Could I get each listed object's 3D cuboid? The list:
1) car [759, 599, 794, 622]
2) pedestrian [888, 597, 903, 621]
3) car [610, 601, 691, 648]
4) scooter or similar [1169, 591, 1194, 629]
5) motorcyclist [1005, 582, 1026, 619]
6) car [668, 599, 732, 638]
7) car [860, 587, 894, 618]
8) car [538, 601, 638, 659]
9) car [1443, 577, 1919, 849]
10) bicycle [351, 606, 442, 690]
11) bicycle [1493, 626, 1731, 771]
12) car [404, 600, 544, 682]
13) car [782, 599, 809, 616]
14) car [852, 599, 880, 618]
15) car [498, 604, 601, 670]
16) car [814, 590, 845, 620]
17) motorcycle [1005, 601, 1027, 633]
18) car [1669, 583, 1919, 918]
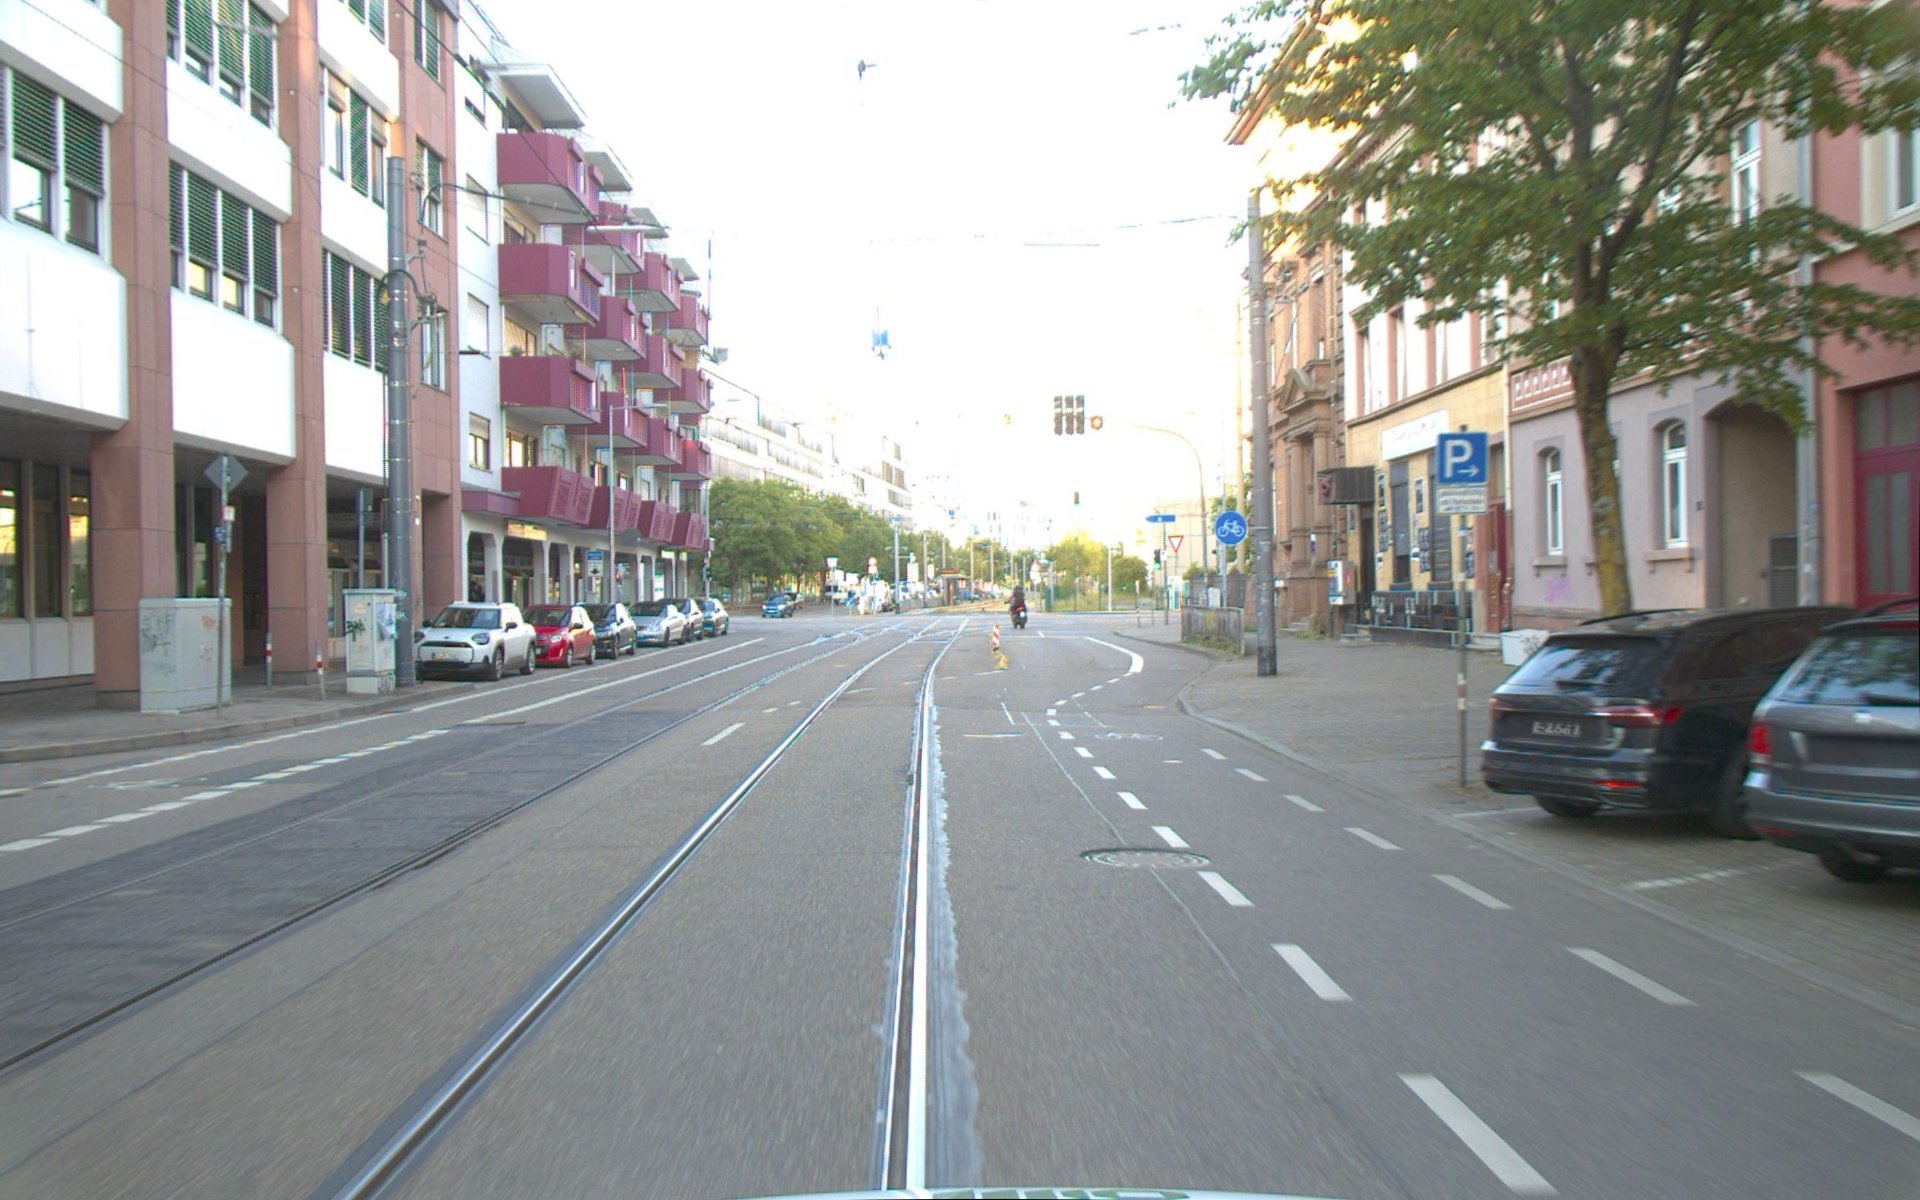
[{"bbox_3d":[-14.077,0.780,127.067,1.647,1.729,4.242,-1,0,8],"label":"car"},{"bbox_3d":[-5.565,0.783,143.579,1.025,2.066,0.978,-1,0,-22],"label":"pedestrian"},{"bbox_3d":[-10.113,0.780,54.372,1.656,1.438,4.677,1,0,1],"label":"car"},{"bbox_3d":[7.737,0.350,57.818,0.628,1.288,1.582,-3,0,0],"label":"scooter or similar"},{"bbox_3d":[2.272,0.019,67.881,0.811,1.499,1.207,-1,0,1],"label":"motorcyclist"},{"bbox_3d":[-10.326,0.704,66.023,1.814,1.482,5.085,-1,0,-1],"label":"car"},{"bbox_3d":[-7.131,0.220,142.657,2.410,2.526,5.810,-1,0,2],"label":"car"},{"bbox_3d":[-10.295,0.804,46.058,1.954,1.505,4.479,1,0,-3],"label":"car"},{"bbox_3d":[5.780,0.661,11.730,4.549,1.482,1.696,-3,0,-26],"label":"car"},{"bbox_3d":[-10.014,0.830,29.479,0.595,1.402,2.260,-1,0,6],"label":"bicycle"},{"bbox_3d":[5.647,0.833,14.405,1.656,1.121,0.927,-3,0,-2],"label":"bicycle"},{"bbox_3d":[-9.984,0.796,34.256,1.682,1.583,4.203,0,0,-1],"label":"car"},{"bbox_3d":[-15.553,0.705,156.915,1.647,1.528,4.242,-1,0,7],"label":"car"},{"bbox_3d":[-7.732,0.693,136.819,1.647,1.464,4.129,-1,0,6],"label":"car"},{"bbox_3d":[-9.915,0.860,40.178,1.578,1.505,3.479,1,0,0],"label":"car"},{"bbox_3d":[-14.154,0.510,179.283,2.154,3.207,6.147,-1,0,7],"label":"car"},{"bbox_3d":[2.288,0.667,67.804,0.811,1.261,2.491,-1,0,1],"label":"motorcycle"},{"bbox_3d":[5.932,0.630,8.793,3.938,1.518,1.815,-2,-1,-26],"label":"car"}]
